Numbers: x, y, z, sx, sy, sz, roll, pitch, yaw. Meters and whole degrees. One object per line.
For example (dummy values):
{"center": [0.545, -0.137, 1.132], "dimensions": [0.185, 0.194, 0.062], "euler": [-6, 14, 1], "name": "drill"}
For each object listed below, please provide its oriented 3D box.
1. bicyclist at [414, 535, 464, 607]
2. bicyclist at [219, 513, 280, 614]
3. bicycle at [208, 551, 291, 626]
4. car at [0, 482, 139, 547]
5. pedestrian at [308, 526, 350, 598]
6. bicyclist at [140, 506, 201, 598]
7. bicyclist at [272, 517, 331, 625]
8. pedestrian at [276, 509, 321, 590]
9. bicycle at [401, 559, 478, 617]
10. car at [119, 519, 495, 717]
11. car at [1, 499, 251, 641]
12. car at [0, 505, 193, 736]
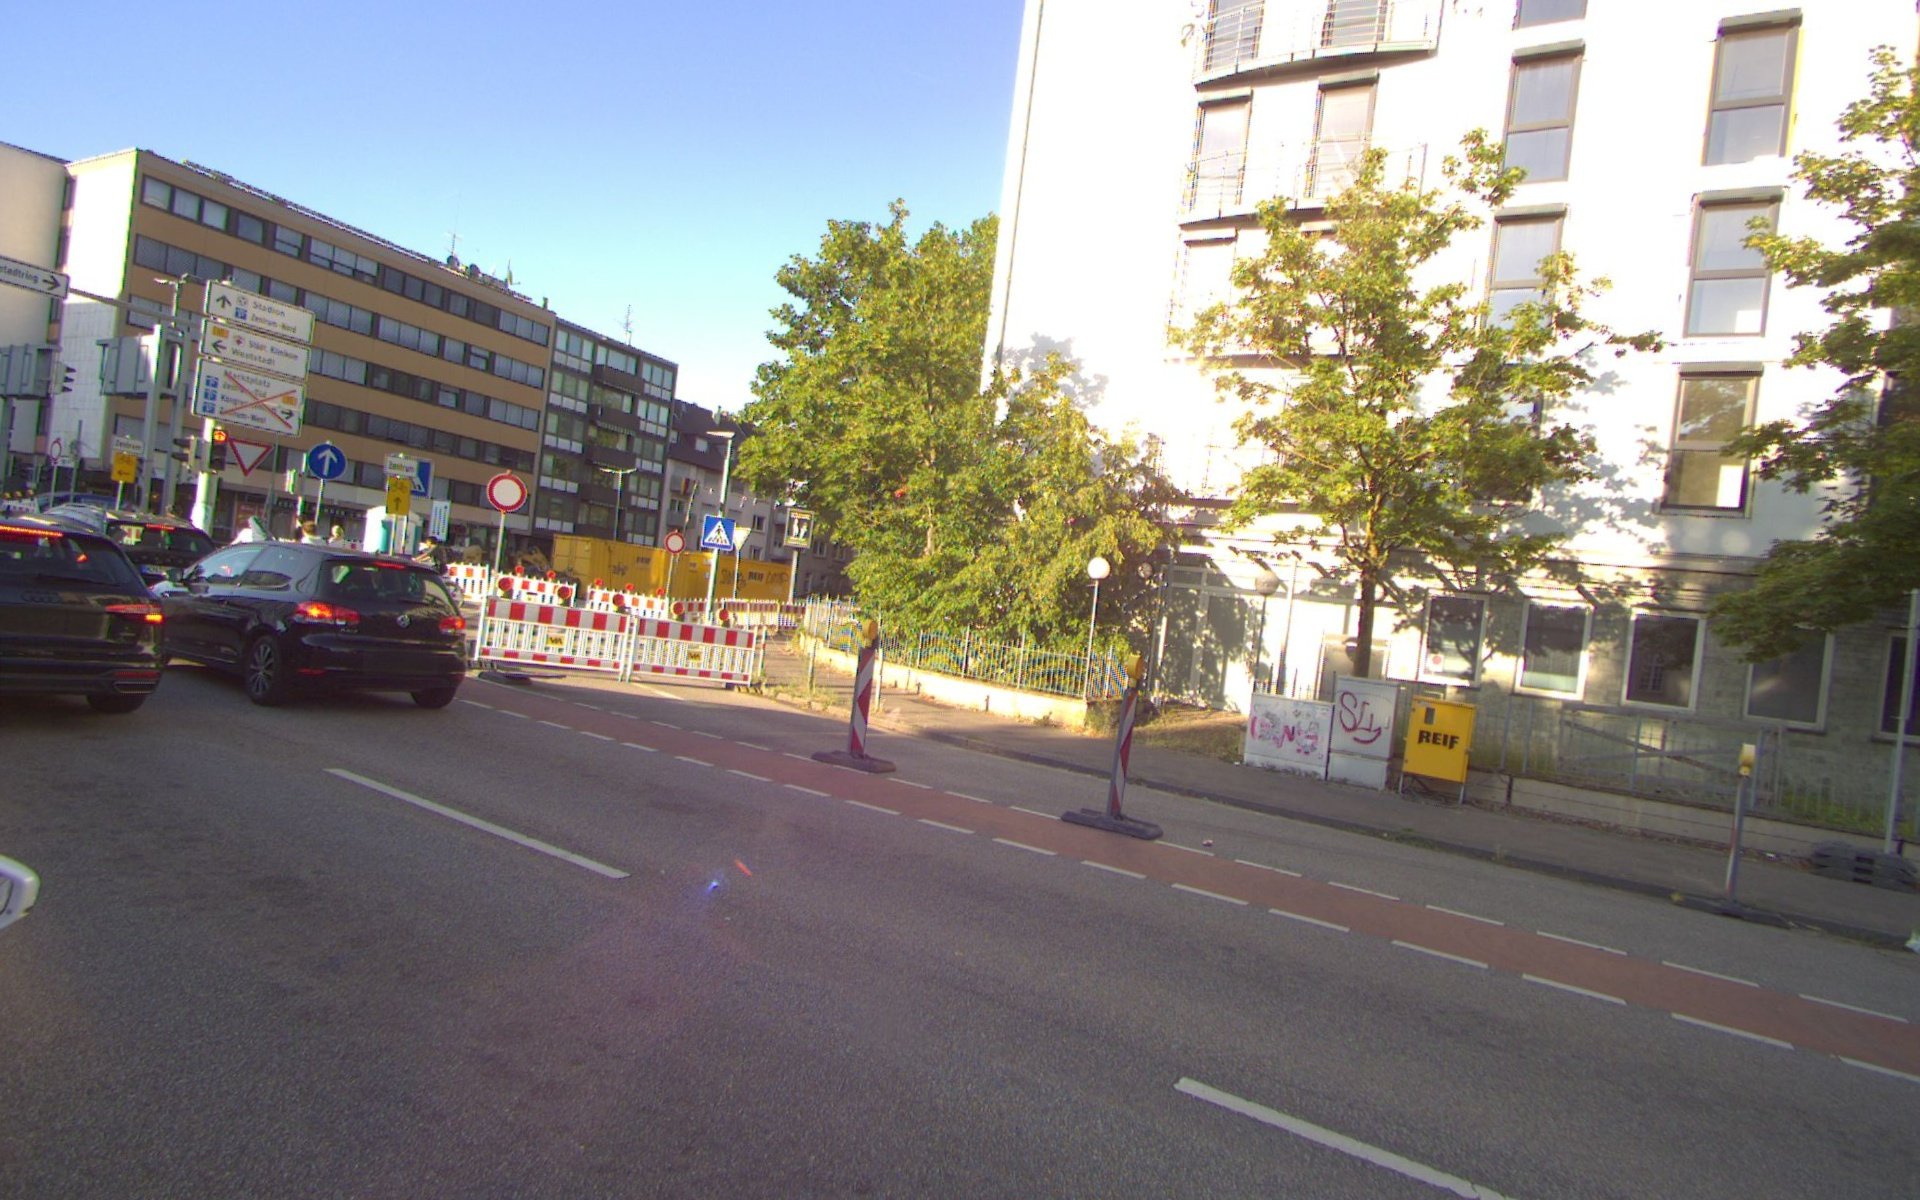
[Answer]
{"center": [-12.601, -0.703, 24.335], "dimensions": [0.803, 1.608, 0.617], "euler": [8, 0, -20], "name": "bicyclist"}
{"center": [-11.552, -0.594, 16.358], "dimensions": [0.713, 1.544, 0.441], "euler": [7, 0, 32], "name": "bicyclist"}
{"center": [-11.534, -0.199, 16.312], "dimensions": [1.825, 1.020, 0.337], "euler": [7, 0, 32], "name": "bicycle"}
{"center": [-33.770, -3.191, 37.648], "dimensions": [1.962, 1.839, 4.231], "euler": [7, -1, 18], "name": "car"}
{"center": [-15.636, -0.938, 24.932], "dimensions": [0.446, 1.691, 0.604], "euler": [7, 0, 15], "name": "pedestrian"}
{"center": [-14.007, -0.851, 17.856], "dimensions": [0.713, 1.544, 0.514], "euler": [7, 0, 32], "name": "bicyclist"}
{"center": [-9.861, -0.428, 15.069], "dimensions": [0.474, 1.544, 0.441], "euler": [7, 0, 31], "name": "bicyclist"}
{"center": [-15.884, -1.210, 24.170], "dimensions": [0.478, 1.857, 0.571], "euler": [7, 0, 19], "name": "pedestrian"}
{"center": [-12.595, -0.277, 24.356], "dimensions": [1.480, 1.174, 0.372], "euler": [9, -1, -21], "name": "bicycle"}
{"center": [-6.639, 0.150, 10.149], "dimensions": [3.683, 1.466, 1.637], "euler": [7, -2, 32], "name": "car"}
{"center": [-11.113, -0.412, 13.374], "dimensions": [3.250, 1.467, 1.507], "euler": [7, 0, 32], "name": "car"}
{"center": [-7.691, -0.057, 7.476], "dimensions": [4.144, 1.437, 1.685], "euler": [7, -2, 32], "name": "car"}
